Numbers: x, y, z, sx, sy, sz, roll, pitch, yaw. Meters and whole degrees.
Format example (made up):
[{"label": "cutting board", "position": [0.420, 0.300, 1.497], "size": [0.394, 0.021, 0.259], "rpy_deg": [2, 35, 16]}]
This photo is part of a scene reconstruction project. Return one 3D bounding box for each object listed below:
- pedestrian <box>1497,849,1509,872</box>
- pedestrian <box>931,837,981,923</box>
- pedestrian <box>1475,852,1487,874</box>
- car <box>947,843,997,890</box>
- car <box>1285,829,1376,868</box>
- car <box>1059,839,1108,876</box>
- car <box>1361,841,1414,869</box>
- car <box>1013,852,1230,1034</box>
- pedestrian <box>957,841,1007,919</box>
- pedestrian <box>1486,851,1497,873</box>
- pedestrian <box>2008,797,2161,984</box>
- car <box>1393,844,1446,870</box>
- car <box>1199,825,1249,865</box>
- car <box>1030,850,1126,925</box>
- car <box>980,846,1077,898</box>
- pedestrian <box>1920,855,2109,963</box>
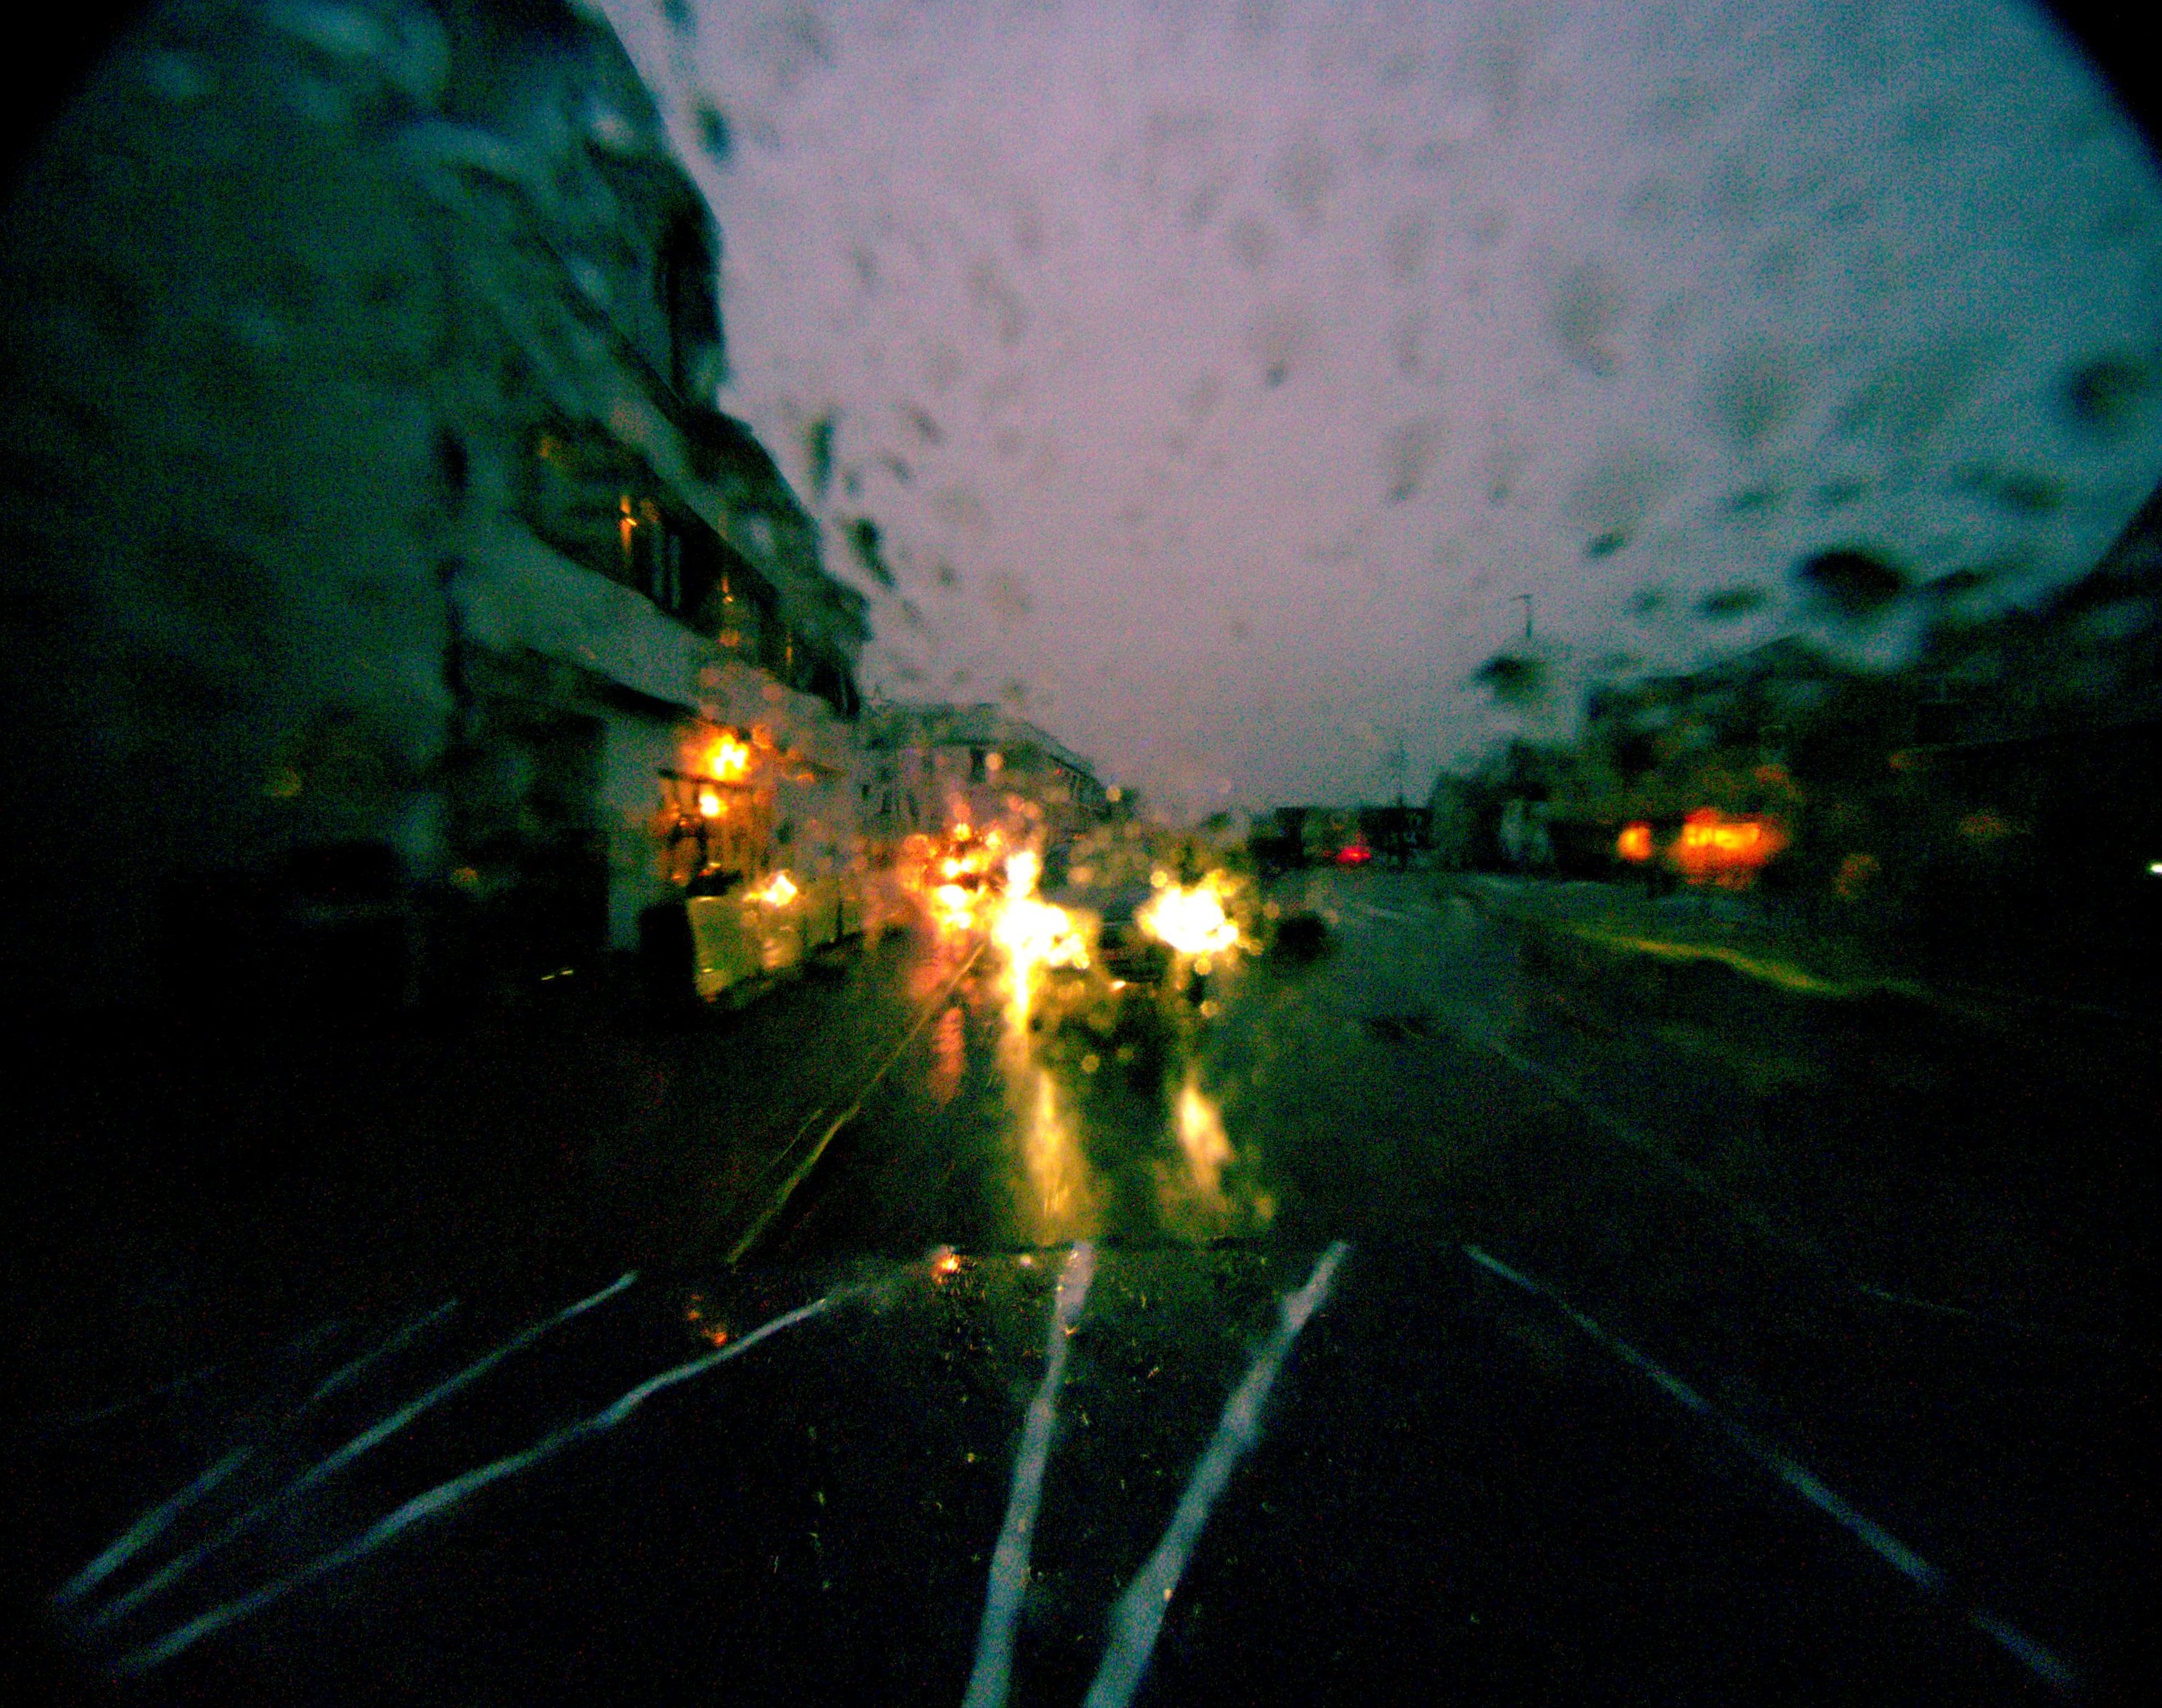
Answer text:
[{"label": "pedestrian", "position": [30.217, 0.471, 54.460], "size": [0.582, 1.602, 0.500], "rpy_deg": [-2, 3, 5]}, {"label": "pedestrian", "position": [-2.820, 0.571, 17.167], "size": [0.789, 1.856, 0.711], "rpy_deg": [1, 4, 44]}, {"label": "pedestrian", "position": [29.946, 0.641, 56.884], "size": [0.582, 1.602, 0.500], "rpy_deg": [-2, 3, 5]}, {"label": "car", "position": [-4.683, 0.464, 32.360], "size": [1.826, 1.736, 3.994], "rpy_deg": [-3, 3, -11]}, {"label": "car", "position": [13.775, -0.334, 42.209], "size": [2.003, 2.003, 4.452], "rpy_deg": [-4, 3, -36]}, {"label": "car", "position": [0.108, 0.128, 36.393], "size": [2.172, 1.469, 3.998], "rpy_deg": [-2, 3, 0]}, {"label": "car", "position": [24.369, 0.024, 60.510], "size": [1.926, 2.003, 3.966], "rpy_deg": [-3, 3, -13]}, {"label": "car", "position": [0.326, 0.811, 9.036], "size": [1.958, 1.576, 4.108], "rpy_deg": [-2, 1, -1]}, {"label": "pedestrian", "position": [-2.326, 0.596, 17.832], "size": [0.789, 1.752, 0.769], "rpy_deg": [1, 4, 44]}, {"label": "pedestrian", "position": [31.041, 0.629, 57.462], "size": [0.582, 1.602, 0.500], "rpy_deg": [-2, 3, 5]}, {"label": "pedestrian", "position": [9.937, 0.342, 7.472], "size": [0.749, 1.732, 0.687], "rpy_deg": [-2, 0, 1]}, {"label": "car", "position": [27.044, 0.179, 60.813], "size": [1.936, 1.871, 3.866], "rpy_deg": [-3, 3, -13]}, {"label": "car", "position": [7.878, -0.545, 41.560], "size": [2.055, 1.976, 4.541], "rpy_deg": [-1, 3, 18]}, {"label": "car", "position": [-0.198, 0.712, 18.420], "size": [1.764, 1.471, 4.015], "rpy_deg": [-3, 2, -8]}, {"label": "car", "position": [-1.928, 0.533, 26.342], "size": [2.030, 1.471, 4.548], "rpy_deg": [-3, 3, -21]}, {"label": "pedestrian", "position": [10.613, 0.612, 8.695], "size": [0.990, 1.151, 0.903], "rpy_deg": [-2, -1, 10]}]
